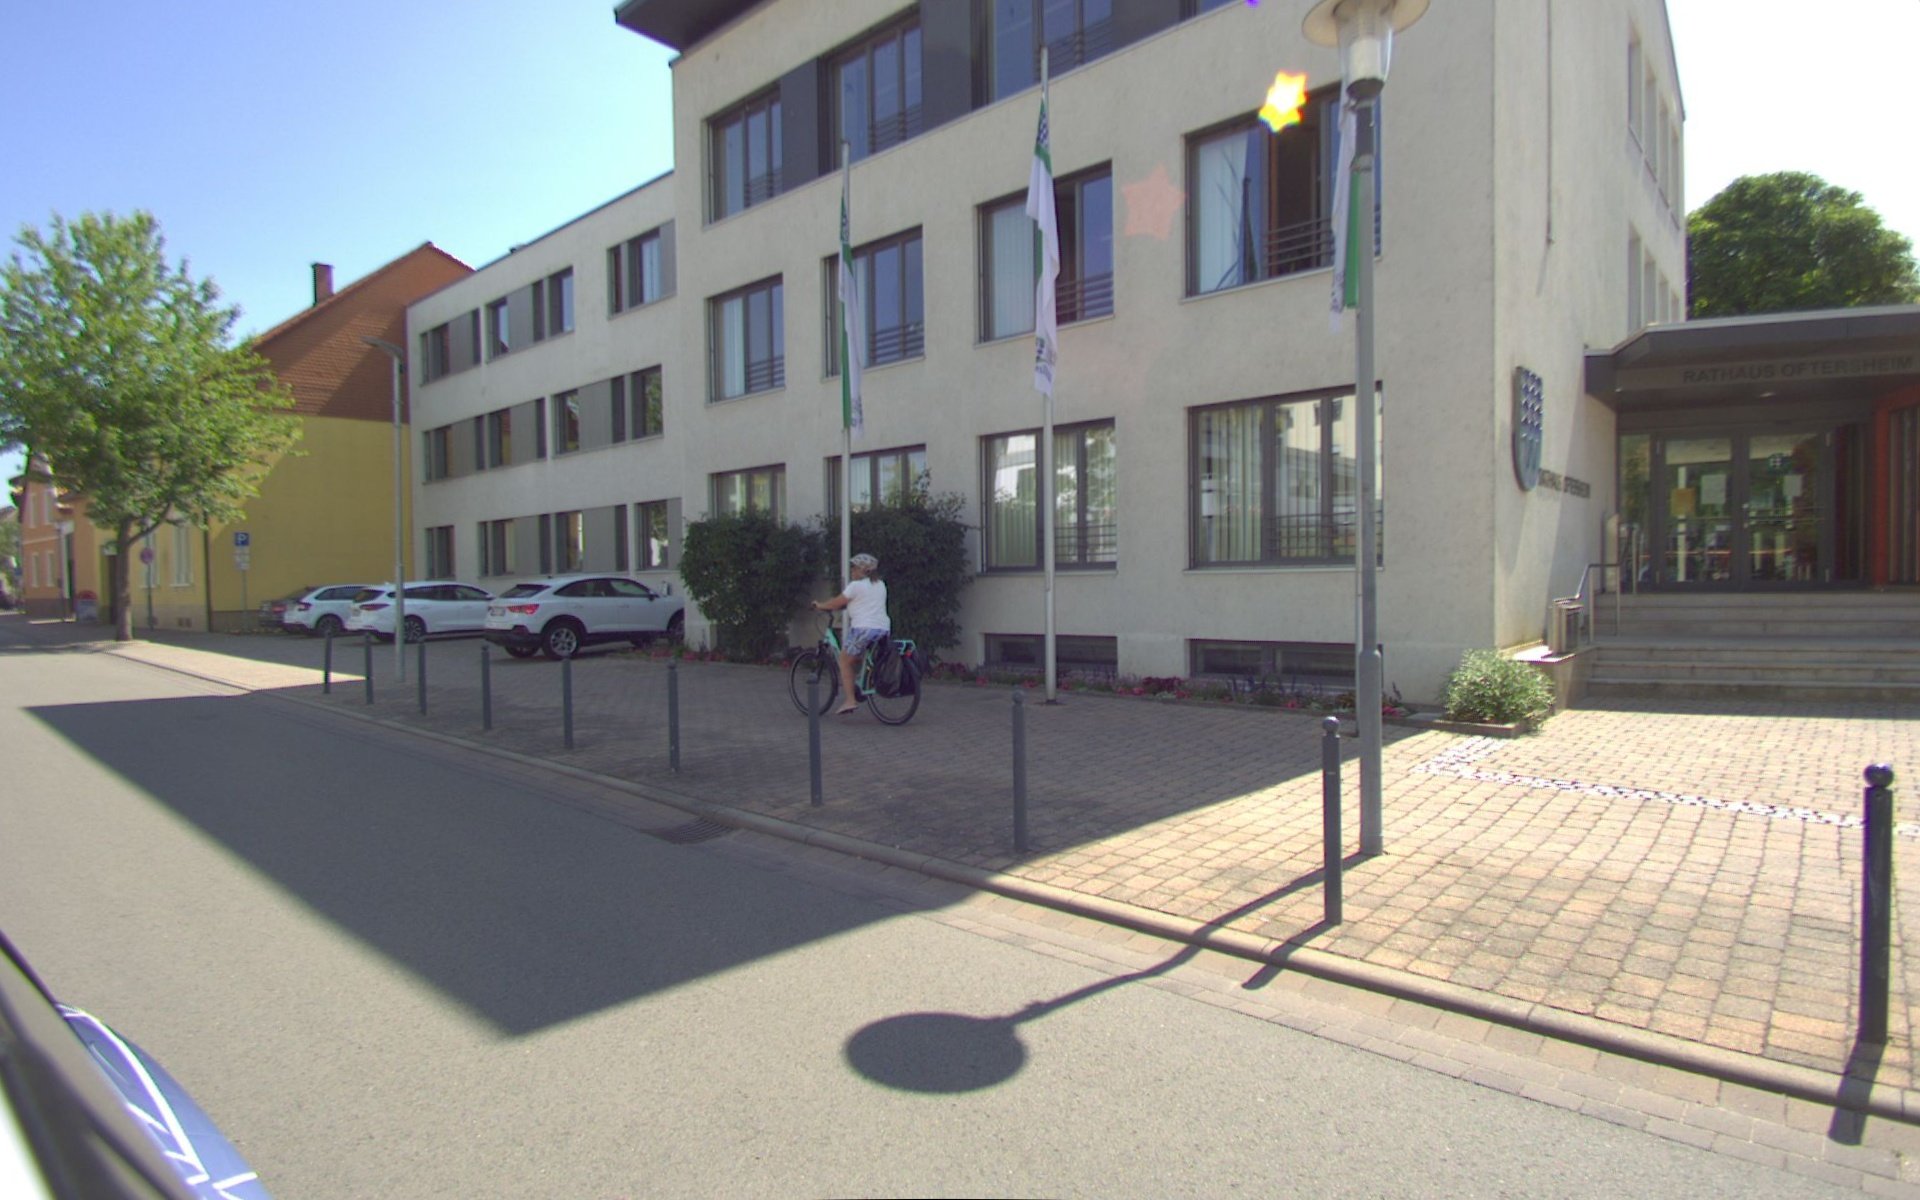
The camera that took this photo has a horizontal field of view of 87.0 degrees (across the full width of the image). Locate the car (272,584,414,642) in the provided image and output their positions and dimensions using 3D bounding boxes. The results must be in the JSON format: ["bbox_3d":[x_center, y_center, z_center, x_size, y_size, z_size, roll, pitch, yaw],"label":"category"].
[{"bbox_3d":[-17.472,0.330,28.725,1.643,1.461,3.097,0,2,43],"label":"car"}]

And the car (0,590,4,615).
[{"bbox_3d":[-72.866,0.173,75.592,3.999,1.829,1.802,0,1,42],"label":"car"}]

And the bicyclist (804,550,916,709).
[{"bbox_3d":[-1.007,0.278,10.182,0.870,1.518,0.707,0,0,40],"label":"bicyclist"}]

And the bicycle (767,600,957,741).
[{"bbox_3d":[-1.021,0.654,10.225,1.970,1.261,0.701,0,3,40],"label":"bicycle"}]

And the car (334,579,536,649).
[{"bbox_3d":[-13.220,0.285,25.688,1.513,1.489,4.267,0,3,42],"label":"car"}]

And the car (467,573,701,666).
[{"bbox_3d":[-7.292,0.307,19.919,1.748,1.559,3.946,0,2,41],"label":"car"}]

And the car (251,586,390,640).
[{"bbox_3d":[-19.069,0.343,30.255,1.374,1.412,3.216,0,2,41],"label":"car"}]
